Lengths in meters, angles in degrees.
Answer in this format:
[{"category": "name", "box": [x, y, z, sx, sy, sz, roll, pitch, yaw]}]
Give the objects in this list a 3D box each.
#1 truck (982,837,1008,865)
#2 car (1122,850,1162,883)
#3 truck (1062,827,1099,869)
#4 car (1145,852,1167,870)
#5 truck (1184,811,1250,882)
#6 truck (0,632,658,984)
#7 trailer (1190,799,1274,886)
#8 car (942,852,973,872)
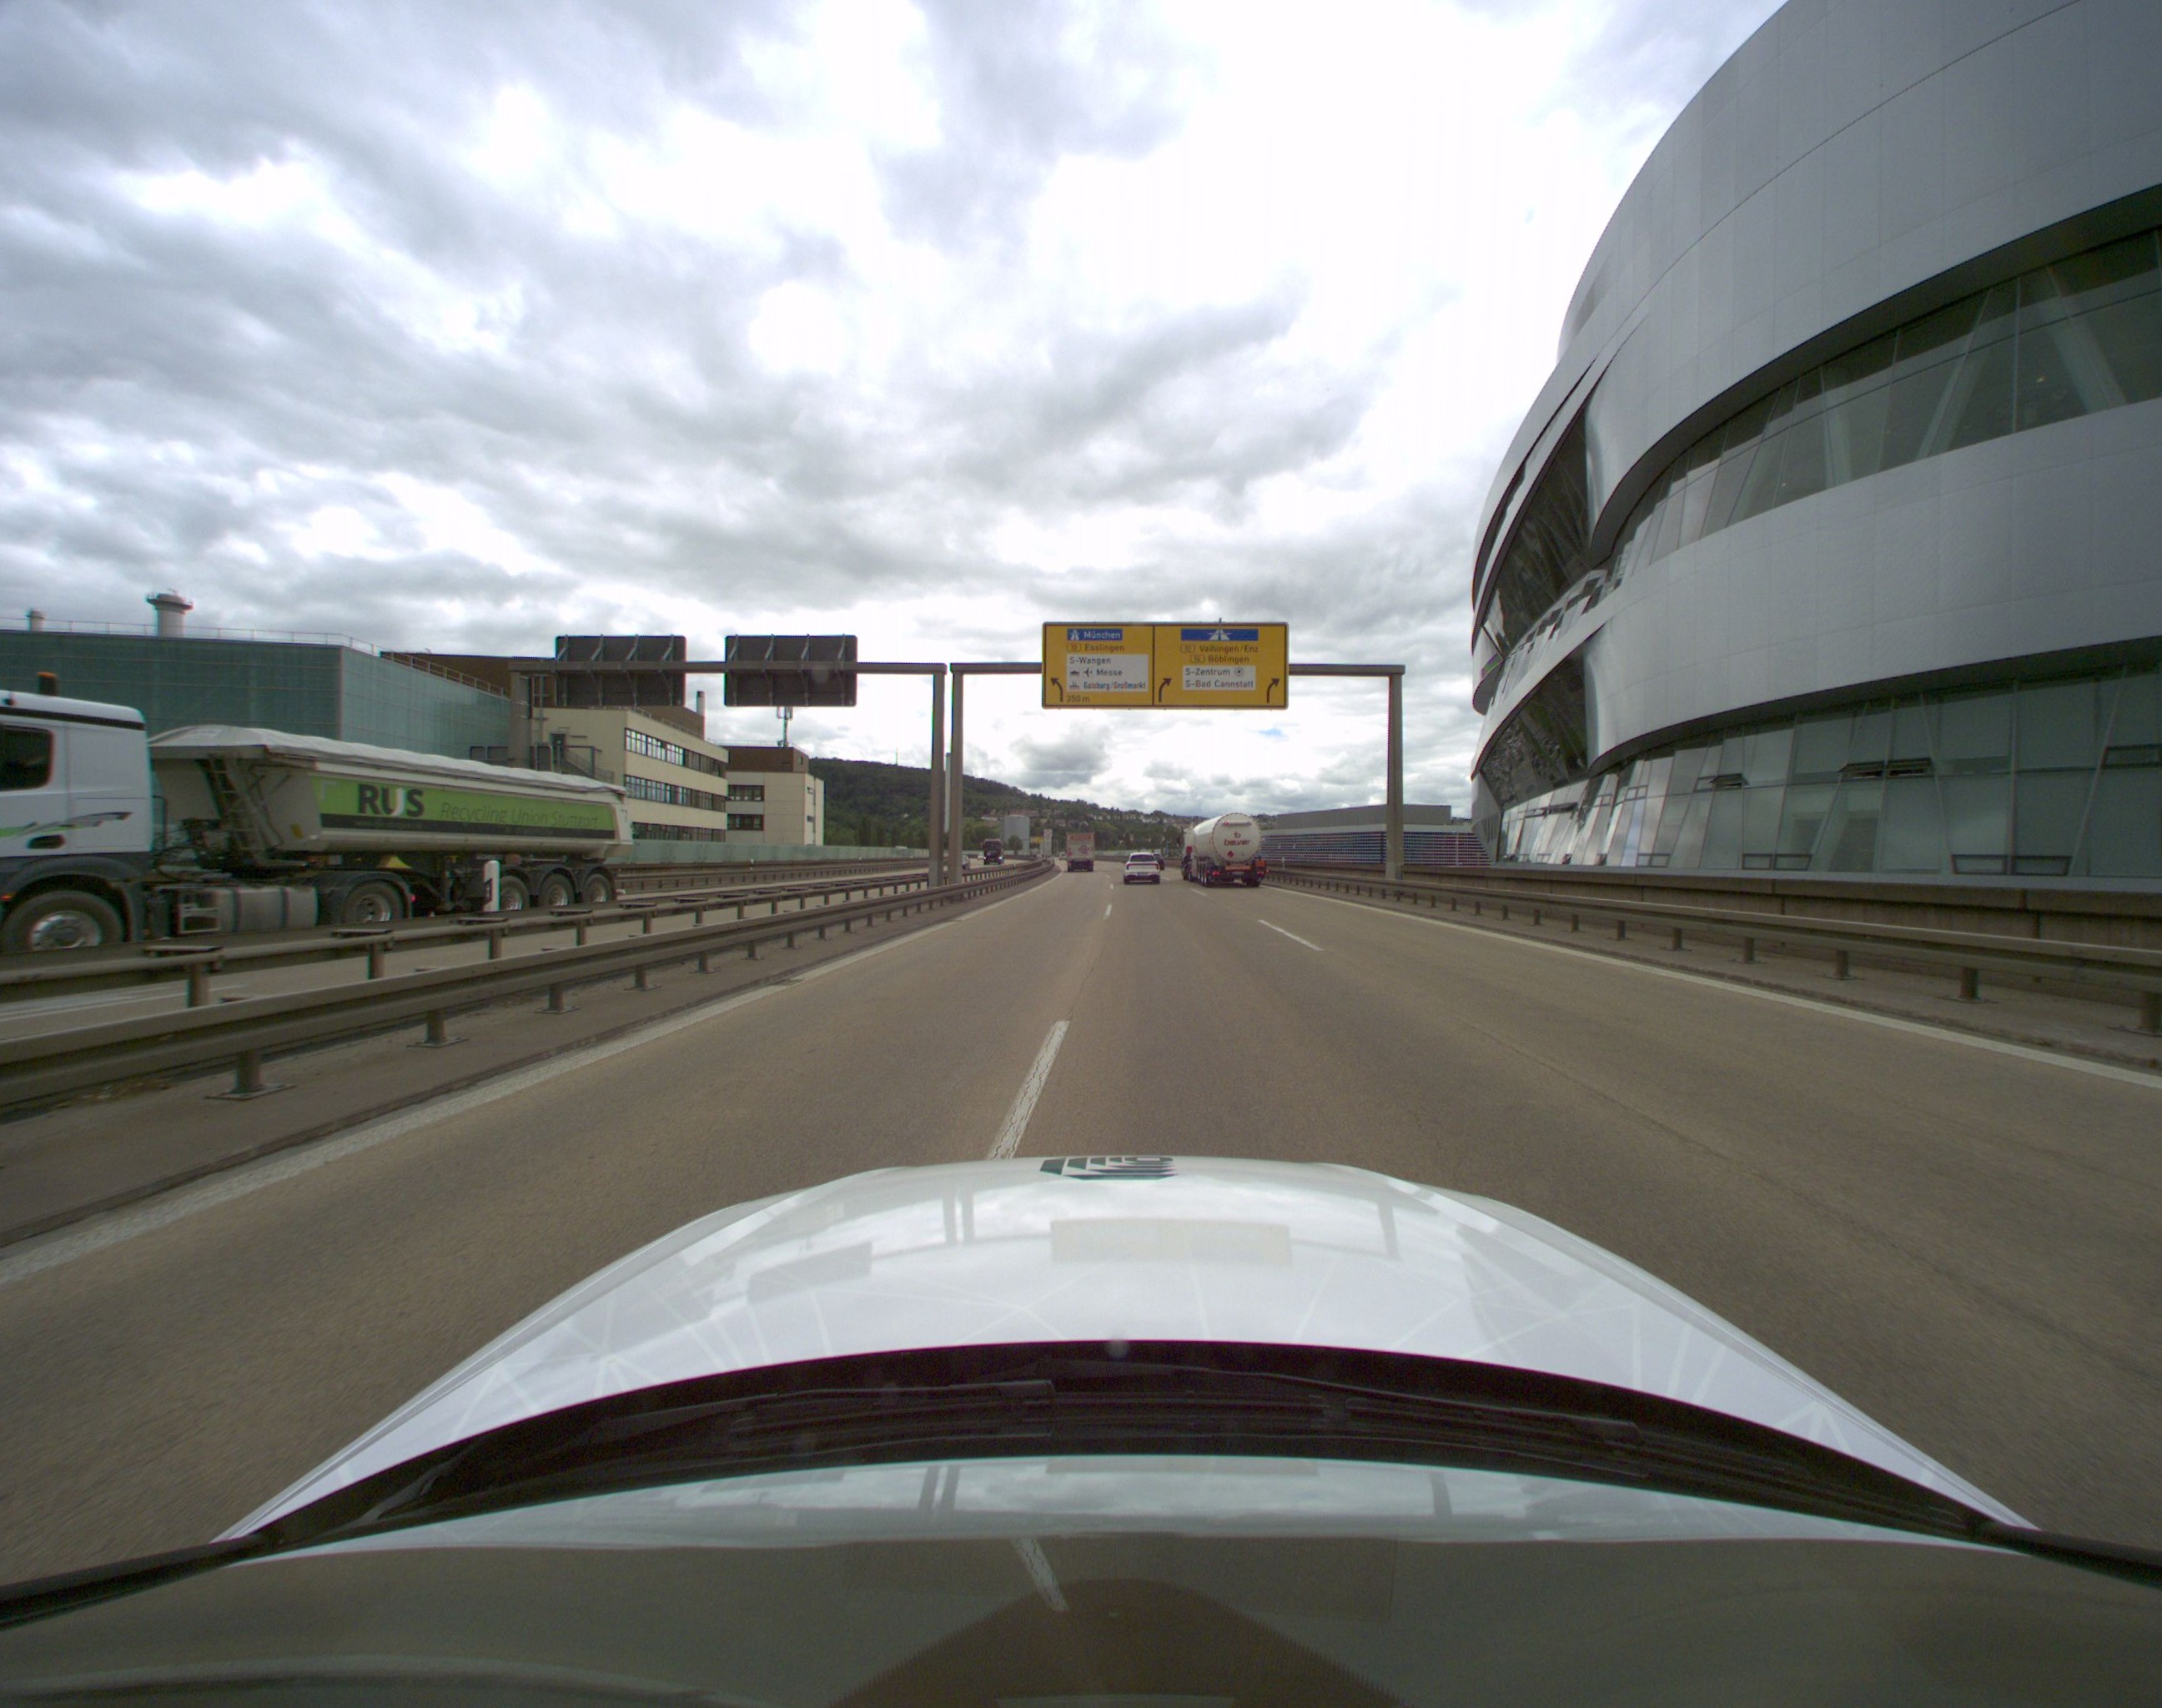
[{"category": "truck", "box": [-12.435, -0.374, 118.446, 2.803, 3.809, 12.010, -1, -1, -2]}, {"category": "car", "box": [3.262, 0.659, 43.925, 1.985, 1.675, 4.412, -1, -1, 3]}, {"category": "truck", "box": [0.056, -0.468, 76.779, 3.045, 3.691, 8.309, -1, -1, 3]}, {"category": "car", "box": [7.134, 0.677, 77.579, 1.985, 1.675, 4.412, -1, -1, 3]}, {"category": "truck", "box": [7.520, -0.358, 45.909, 3.001, 3.657, 6.279, -1, -1, 3]}, {"category": "truck", "box": [-12.660, -0.429, 14.352, 3.043, 3.776, 12.532, -1, -1, 4]}, {"category": "trailer", "box": [7.171, -0.463, 39.809, 3.043, 3.790, 8.312, -1, -1, 4]}, {"category": "car", "box": [-11.058, 0.725, 73.308, 1.986, 1.675, 4.408, -1, -1, 1]}]
